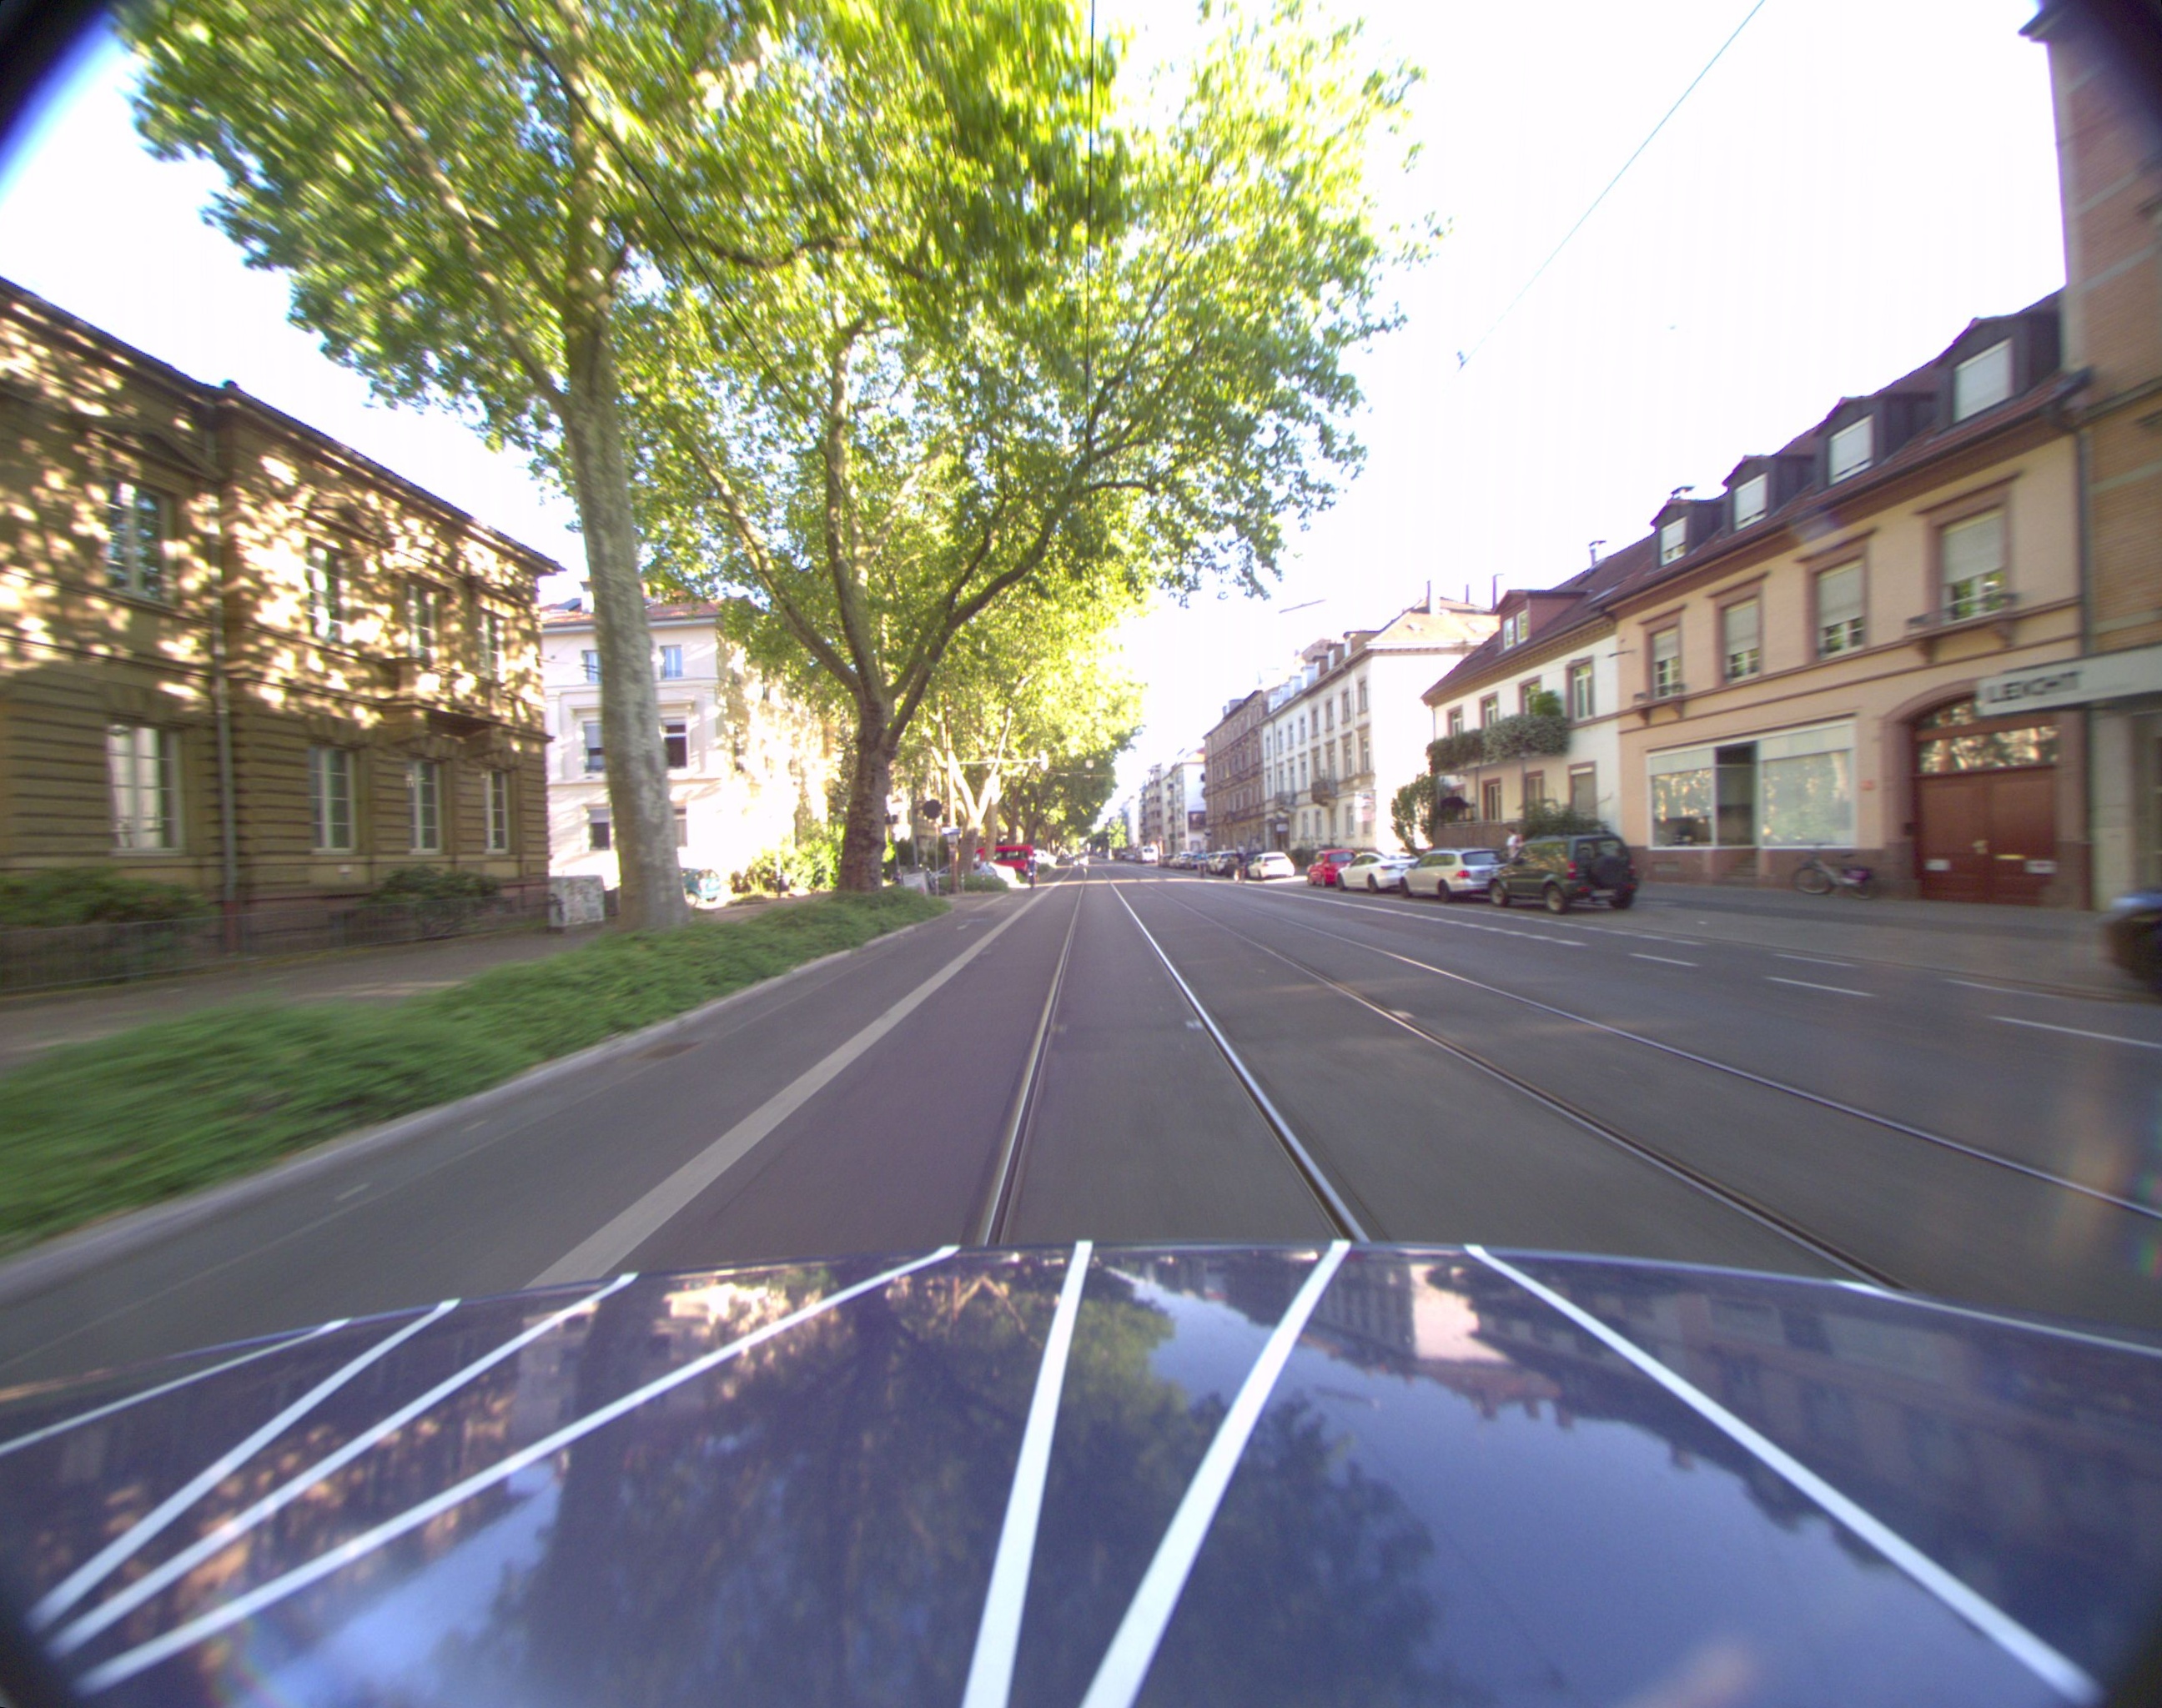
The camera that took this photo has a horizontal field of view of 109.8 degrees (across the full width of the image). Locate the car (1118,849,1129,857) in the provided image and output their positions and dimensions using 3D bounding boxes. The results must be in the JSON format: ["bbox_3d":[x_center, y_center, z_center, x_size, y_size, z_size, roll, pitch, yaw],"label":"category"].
[{"bbox_3d":[8.968,-0.201,161.261,1.808,1.534,3.918,-4,0,-2],"label":"car"}]

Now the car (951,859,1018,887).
[{"bbox_3d":[-5.566,1.086,44.146,3.677,1.411,1.614,-2,3,0],"label":"car"}]

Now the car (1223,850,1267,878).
[{"bbox_3d":[10.293,0.608,47.874,1.798,1.587,4.083,-4,0,0],"label":"car"}]

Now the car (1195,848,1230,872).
[{"bbox_3d":[10.213,0.450,59.421,1.798,1.630,4.575,-4,0,0],"label":"car"}]

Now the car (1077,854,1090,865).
[{"bbox_3d":[0.300,0.771,111.366,1.740,1.365,3.918,-4,0,-1],"label":"car"}]

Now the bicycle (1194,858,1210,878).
[{"bbox_3d":[7.238,0.845,45.517,0.714,1.131,2.121,-2,0,3],"label":"bicycle"}]

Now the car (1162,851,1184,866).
[{"bbox_3d":[10.200,0.470,84.546,1.808,1.534,3.918,-4,0,-1],"label":"car"}]

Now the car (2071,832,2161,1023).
[{"bbox_3d":[10.862,0.619,5.146,1.999,1.693,4.750,-5,0,-1],"label":"car"}]

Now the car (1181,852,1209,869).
[{"bbox_3d":[10.208,0.537,68.288,1.798,1.368,4.083,-4,0,0],"label":"car"}]

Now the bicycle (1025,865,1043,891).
[{"bbox_3d":[-2.251,1.144,36.587,0.715,1.131,2.120,-2,0,1],"label":"bicycle"}]

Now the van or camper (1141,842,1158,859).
[{"bbox_3d":[9.867,-0.478,109.511,1.945,2.267,4.597,-4,0,-1],"label":"van or camper"}]

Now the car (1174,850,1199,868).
[{"bbox_3d":[10.176,0.454,73.589,1.798,1.617,4.083,-4,0,0],"label":"car"}]

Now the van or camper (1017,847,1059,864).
[{"bbox_3d":[-6.348,0.190,113.379,6.099,2.417,2.428,-2,1,0],"label":"van or camper"}]

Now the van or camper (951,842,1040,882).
[{"bbox_3d":[-5.937,0.537,53.212,5.928,2.484,2.219,-2,3,-2],"label":"van or camper"}]

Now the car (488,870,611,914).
[{"bbox_3d":[-21.713,1.541,31.153,3.707,1.535,1.736,-2,3,0],"label":"car"}]

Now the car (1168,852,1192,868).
[{"bbox_3d":[10.310,0.598,79.387,1.798,1.473,4.083,-4,0,0],"label":"car"}]

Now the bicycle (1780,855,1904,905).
[{"bbox_3d":[16.007,0.507,16.065,0.505,0.963,2.120,-2,0,1],"label":"bicycle"}]

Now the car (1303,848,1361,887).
[{"bbox_3d":[10.675,0.538,32.476,1.422,1.502,3.326,-4,0,3],"label":"car"}]

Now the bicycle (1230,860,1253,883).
[{"bbox_3d":[8.225,0.872,39.051,0.715,1.131,2.120,-2,0,1],"label":"bicycle"}]

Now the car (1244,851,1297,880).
[{"bbox_3d":[10.566,0.627,42.732,1.868,1.423,4.083,-4,0,0],"label":"car"}]

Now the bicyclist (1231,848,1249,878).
[{"bbox_3d":[8.200,0.458,39.187,0.715,1.508,0.954,-2,1,1],"label":"bicyclist"}]

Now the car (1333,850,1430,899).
[{"bbox_3d":[10.557,0.667,27.068,1.587,1.482,4.470,-4,0,-1],"label":"car"}]

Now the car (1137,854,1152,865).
[{"bbox_3d":[9.678,0.807,115.294,1.808,1.534,3.918,-4,0,-1],"label":"car"}]

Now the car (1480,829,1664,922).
[{"bbox_3d":[10.917,0.426,17.239,1.729,1.736,3.625,-5,0,1],"label":"car"}]

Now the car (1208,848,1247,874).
[{"bbox_3d":[10.170,0.486,53.188,1.798,1.630,4.254,-4,0,0],"label":"car"}]

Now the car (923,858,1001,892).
[{"bbox_3d":[-6.064,1.070,39.004,3.677,1.535,1.614,-2,3,0],"label":"car"}]

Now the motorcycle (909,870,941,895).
[{"bbox_3d":[-6.742,1.230,32.899,1.274,1.048,0.394,-2,1,-37],"label":"motorcycle"}]

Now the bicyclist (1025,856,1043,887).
[{"bbox_3d":[-2.253,0.827,36.628,0.714,1.435,0.954,-2,1,2],"label":"bicyclist"}]

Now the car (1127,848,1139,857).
[{"bbox_3d":[9.918,-0.233,145.450,1.808,1.534,3.918,-4,0,-2],"label":"car"}]

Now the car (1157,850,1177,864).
[{"bbox_3d":[10.132,0.311,89.678,1.808,1.534,3.918,-4,0,-1],"label":"car"}]

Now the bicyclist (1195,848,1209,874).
[{"bbox_3d":[7.229,0.419,45.504,0.714,1.508,0.954,-2,1,3],"label":"bicyclist"}]

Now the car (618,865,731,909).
[{"bbox_3d":[-16.475,1.319,30.899,3.571,1.535,1.736,-2,3,0],"label":"car"}]

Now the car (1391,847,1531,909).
[{"bbox_3d":[10.616,0.611,21.641,1.667,1.446,4.403,-4,0,-1],"label":"car"}]
